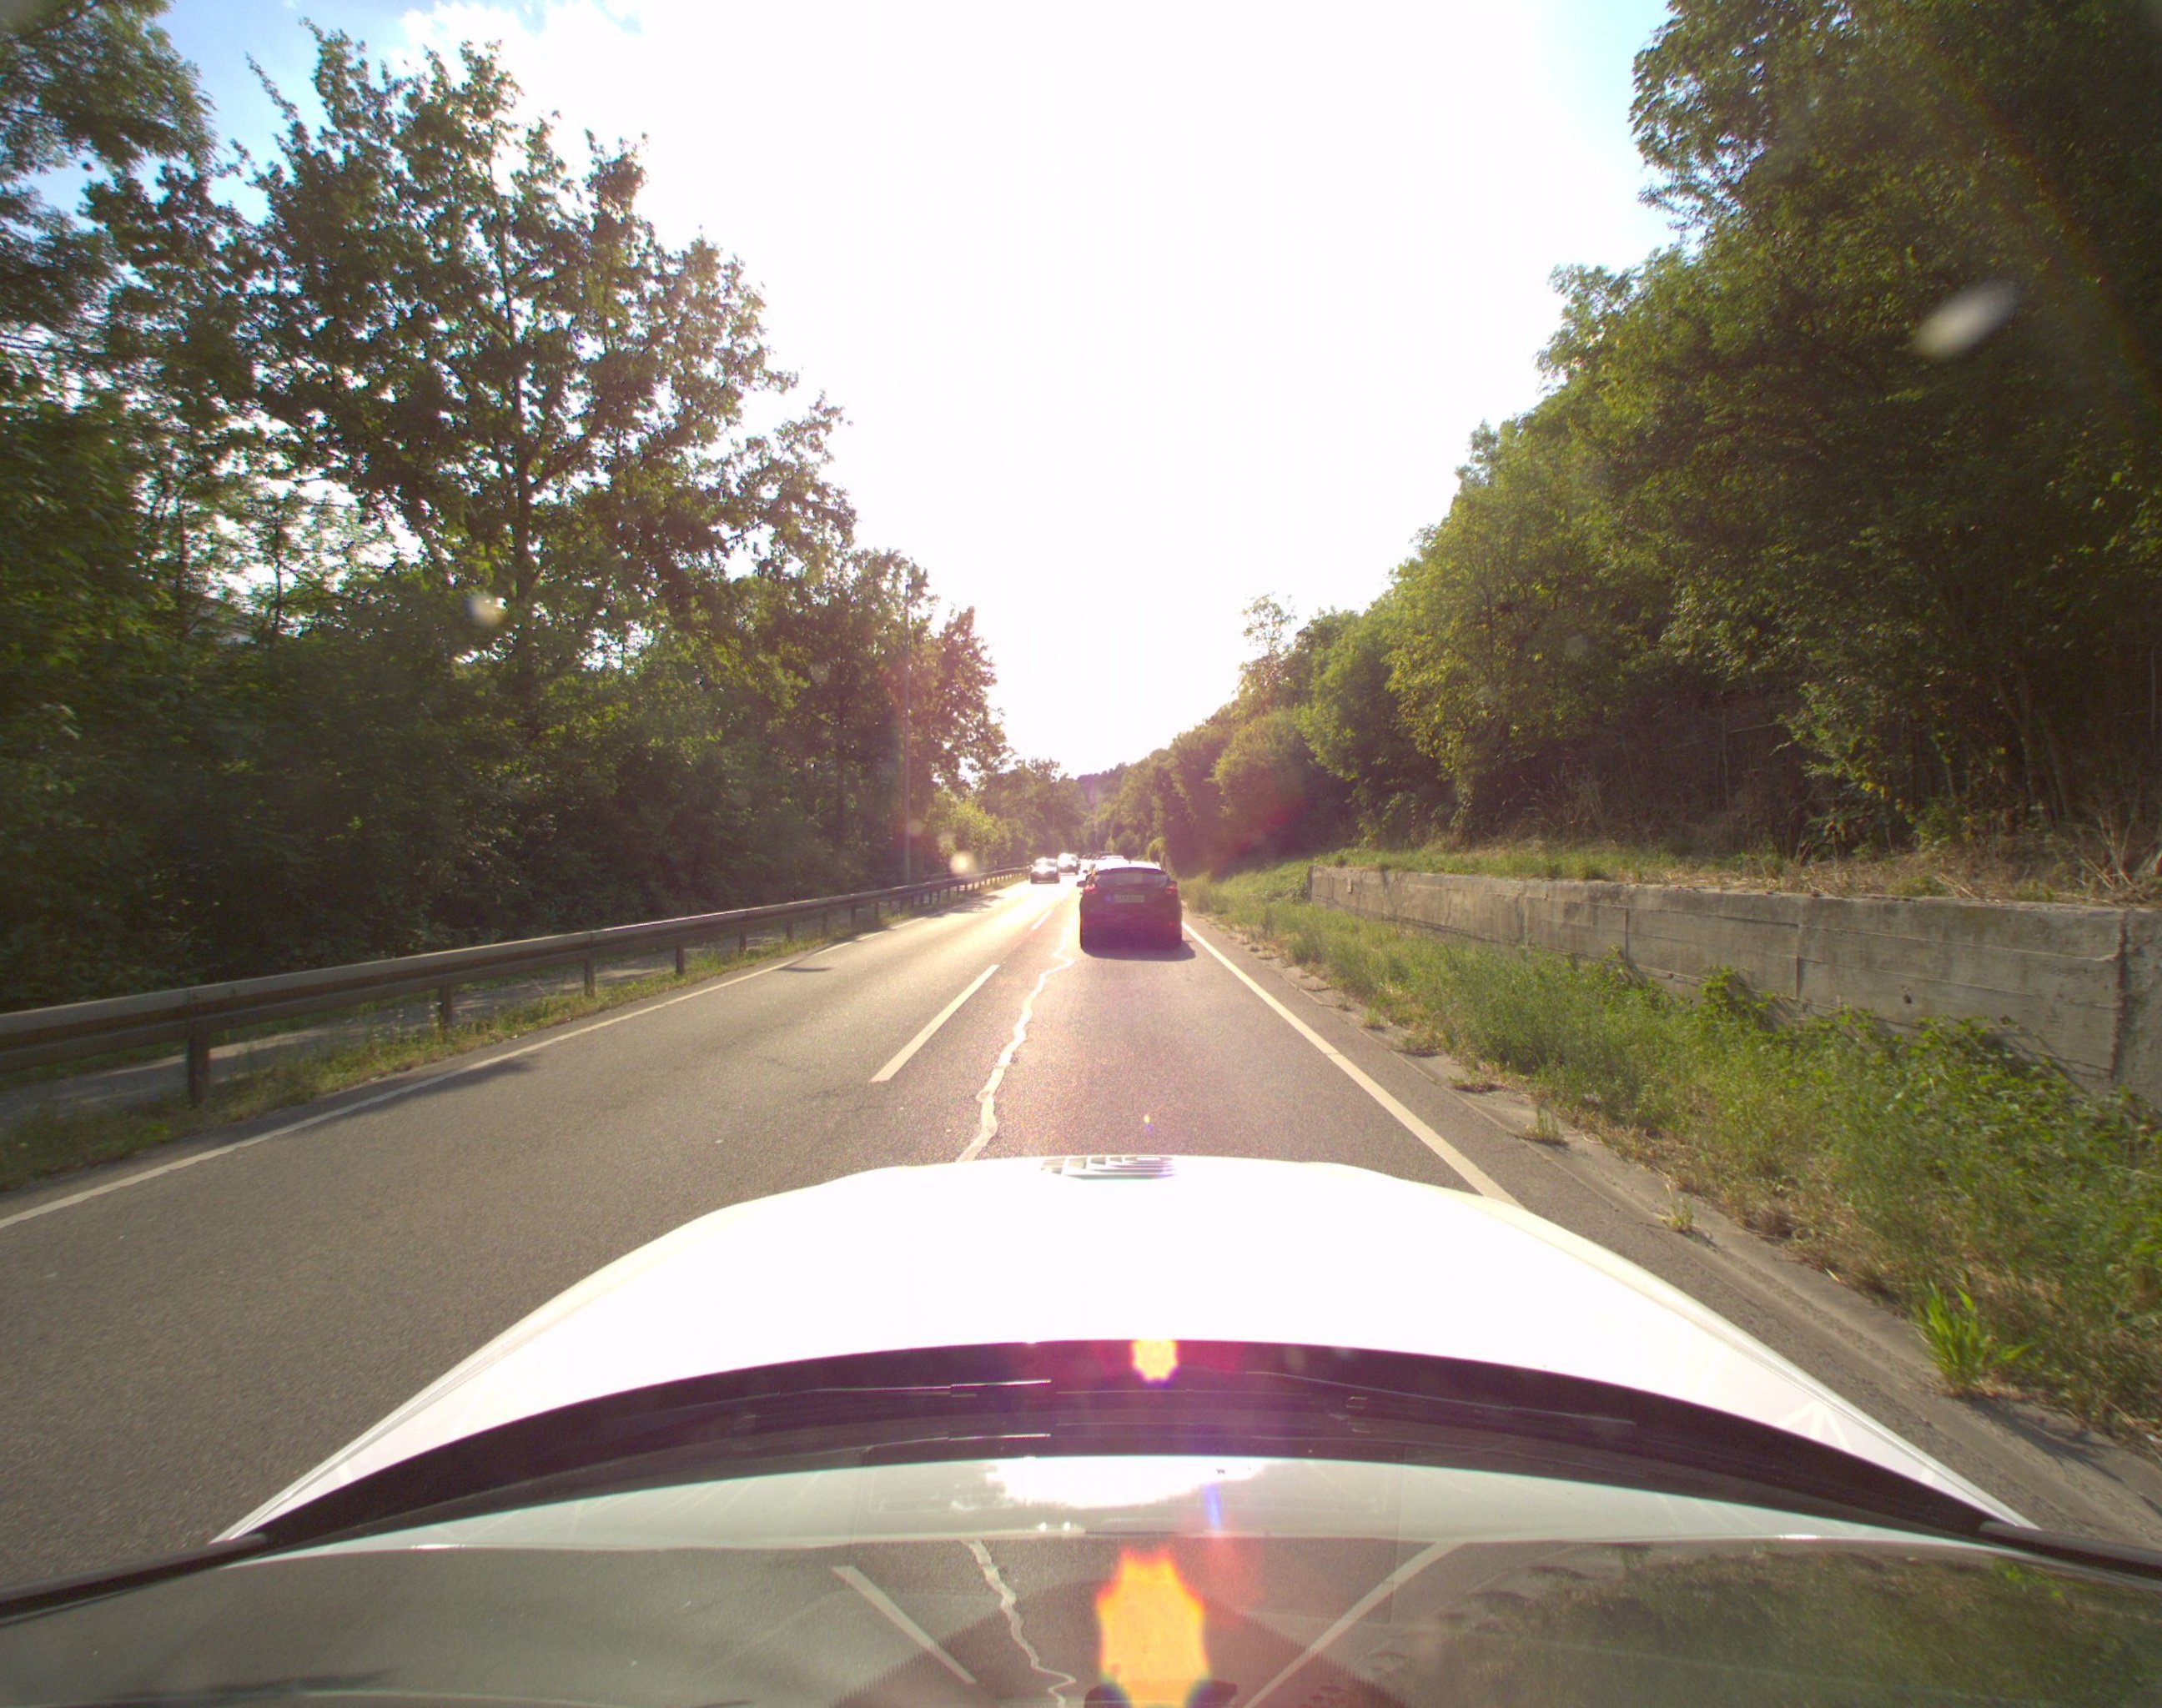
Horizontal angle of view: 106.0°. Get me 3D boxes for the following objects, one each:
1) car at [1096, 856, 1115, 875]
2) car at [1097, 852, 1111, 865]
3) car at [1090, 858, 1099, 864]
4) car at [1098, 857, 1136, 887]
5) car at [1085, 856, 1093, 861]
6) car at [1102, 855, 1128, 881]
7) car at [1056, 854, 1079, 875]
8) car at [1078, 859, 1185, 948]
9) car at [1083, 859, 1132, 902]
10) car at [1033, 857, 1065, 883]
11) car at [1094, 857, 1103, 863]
[{"bbox_3d":[2.197,1.007,73.478,1.624,1.596,4.002,-1,0,2],"label":"car"},{"bbox_3d":[3.357,0.619,118.686,1.856,1.780,4.000,-1,0,1],"label":"car"},{"bbox_3d":[3.876,1.994,232.393,1.991,1.519,3.992,-1,0,-6],"label":"car"},{"bbox_3d":[1.820,0.893,41.846,1.798,1.391,4.002,-1,0,2],"label":"car"},{"bbox_3d":[2.499,1.437,245.099,1.991,1.519,3.992,-1,0,-6],"label":"car"},{"bbox_3d":[2.206,0.883,53.764,1.624,1.596,4.002,-1,0,2],"label":"car"},{"bbox_3d":[-1.091,0.847,68.853,1.741,1.717,4.222,-1,0,1],"label":"car"},{"bbox_3d":[0.894,0.825,15.324,1.733,1.456,4.002,0,0,2],"label":"car"},{"bbox_3d":[1.021,0.926,29.999,1.654,1.418,4.003,-1,0,3],"label":"car"},{"bbox_3d":[-1.942,0.947,50.199,1.675,1.442,4.002,-1,0,2],"label":"car"},{"bbox_3d":[4.506,1.461,211.401,1.991,1.519,3.992,-1,0,-6],"label":"car"}]
